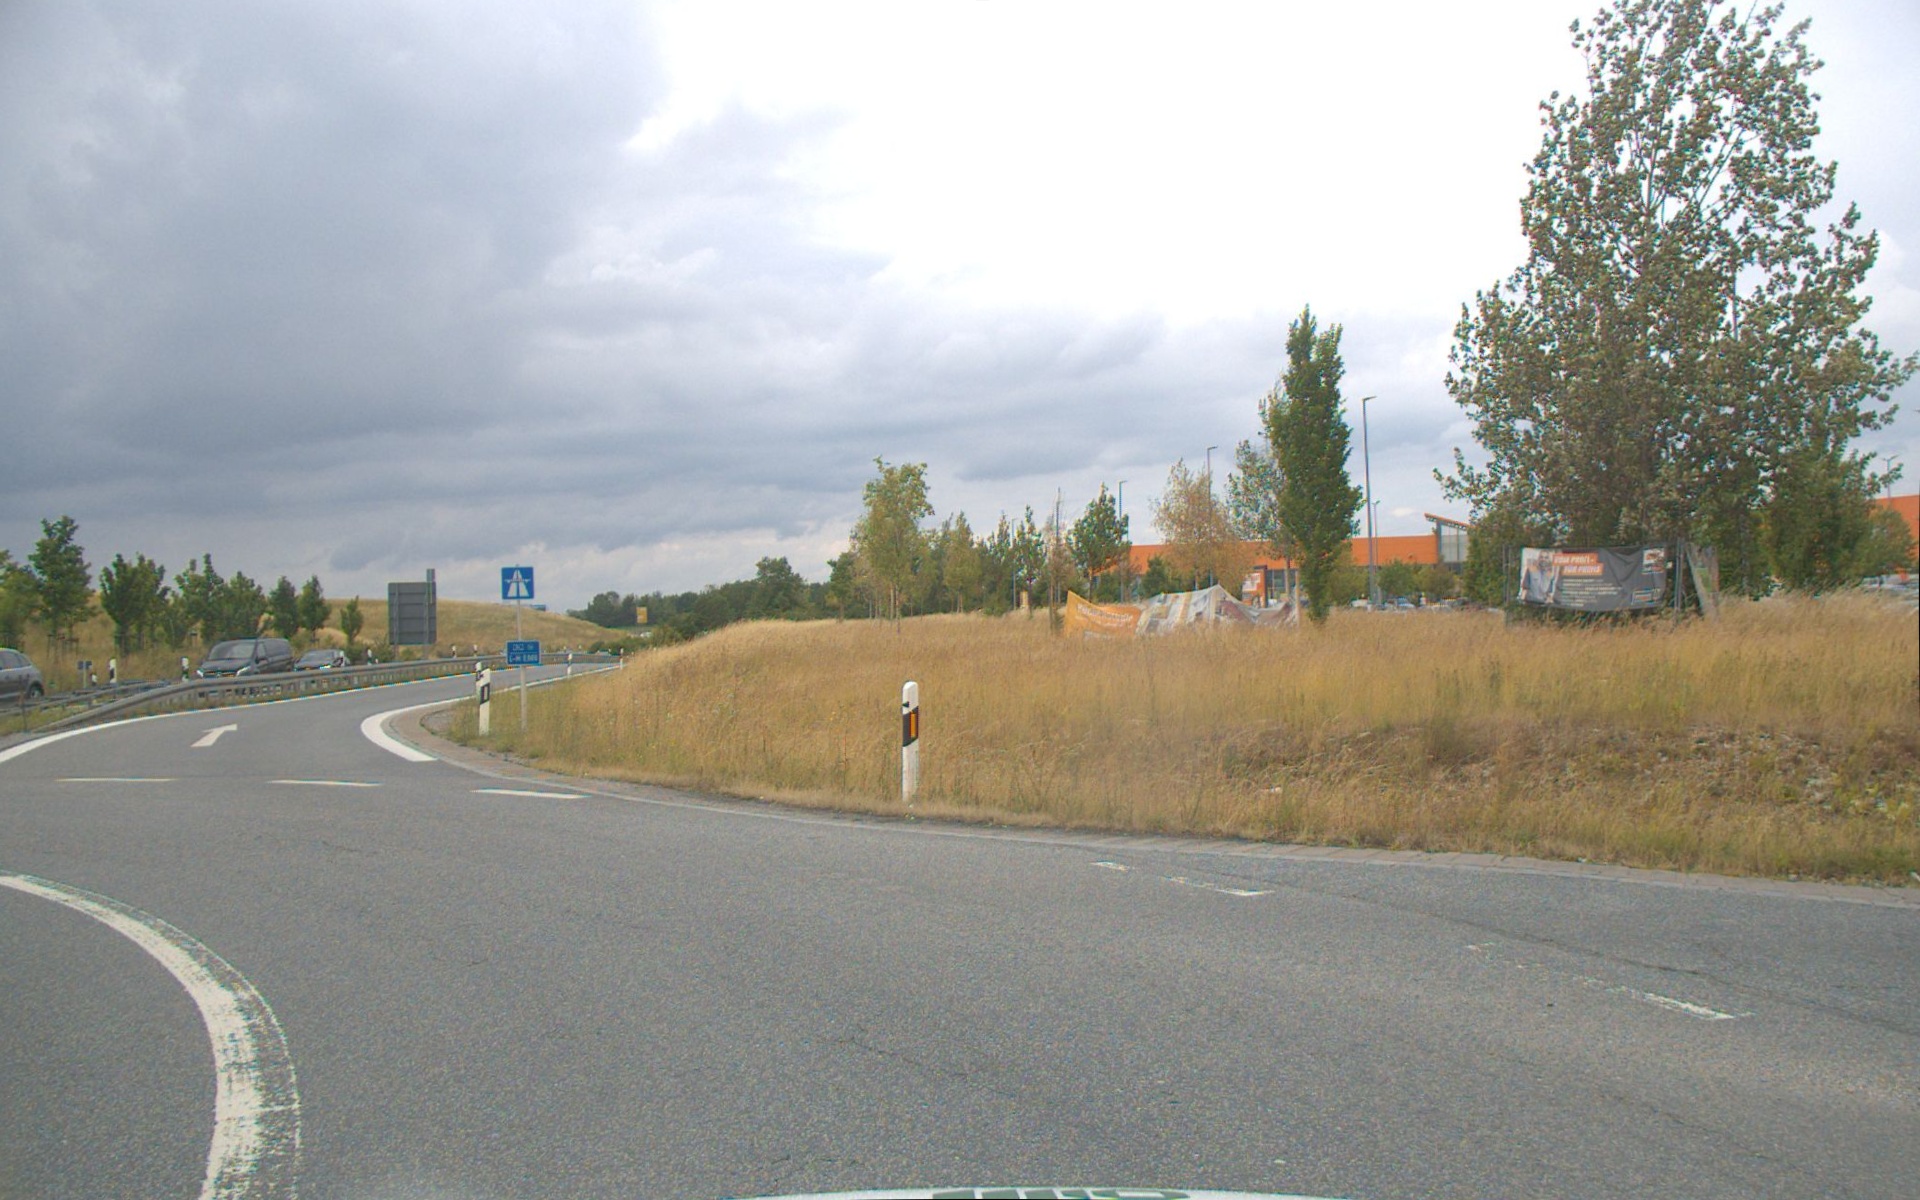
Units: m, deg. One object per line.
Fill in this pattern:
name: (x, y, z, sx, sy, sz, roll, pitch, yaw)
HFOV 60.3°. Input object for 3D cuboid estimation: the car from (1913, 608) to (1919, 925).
car: (6.557, 0.716, 6.409, 4.574, 1.428, 1.929, -1, -1, 3)

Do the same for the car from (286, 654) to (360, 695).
car: (-29.010, 3.386, 75.423, 1.955, 1.713, 4.585, -3, -2, -6)

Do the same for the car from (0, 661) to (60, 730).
car: (-22.375, 2.165, 37.393, 1.695, 1.518, 4.540, -1, -2, -2)

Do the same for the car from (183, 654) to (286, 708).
car: (-25.306, 2.811, 57.841, 1.955, 1.713, 4.585, -3, -2, -6)
